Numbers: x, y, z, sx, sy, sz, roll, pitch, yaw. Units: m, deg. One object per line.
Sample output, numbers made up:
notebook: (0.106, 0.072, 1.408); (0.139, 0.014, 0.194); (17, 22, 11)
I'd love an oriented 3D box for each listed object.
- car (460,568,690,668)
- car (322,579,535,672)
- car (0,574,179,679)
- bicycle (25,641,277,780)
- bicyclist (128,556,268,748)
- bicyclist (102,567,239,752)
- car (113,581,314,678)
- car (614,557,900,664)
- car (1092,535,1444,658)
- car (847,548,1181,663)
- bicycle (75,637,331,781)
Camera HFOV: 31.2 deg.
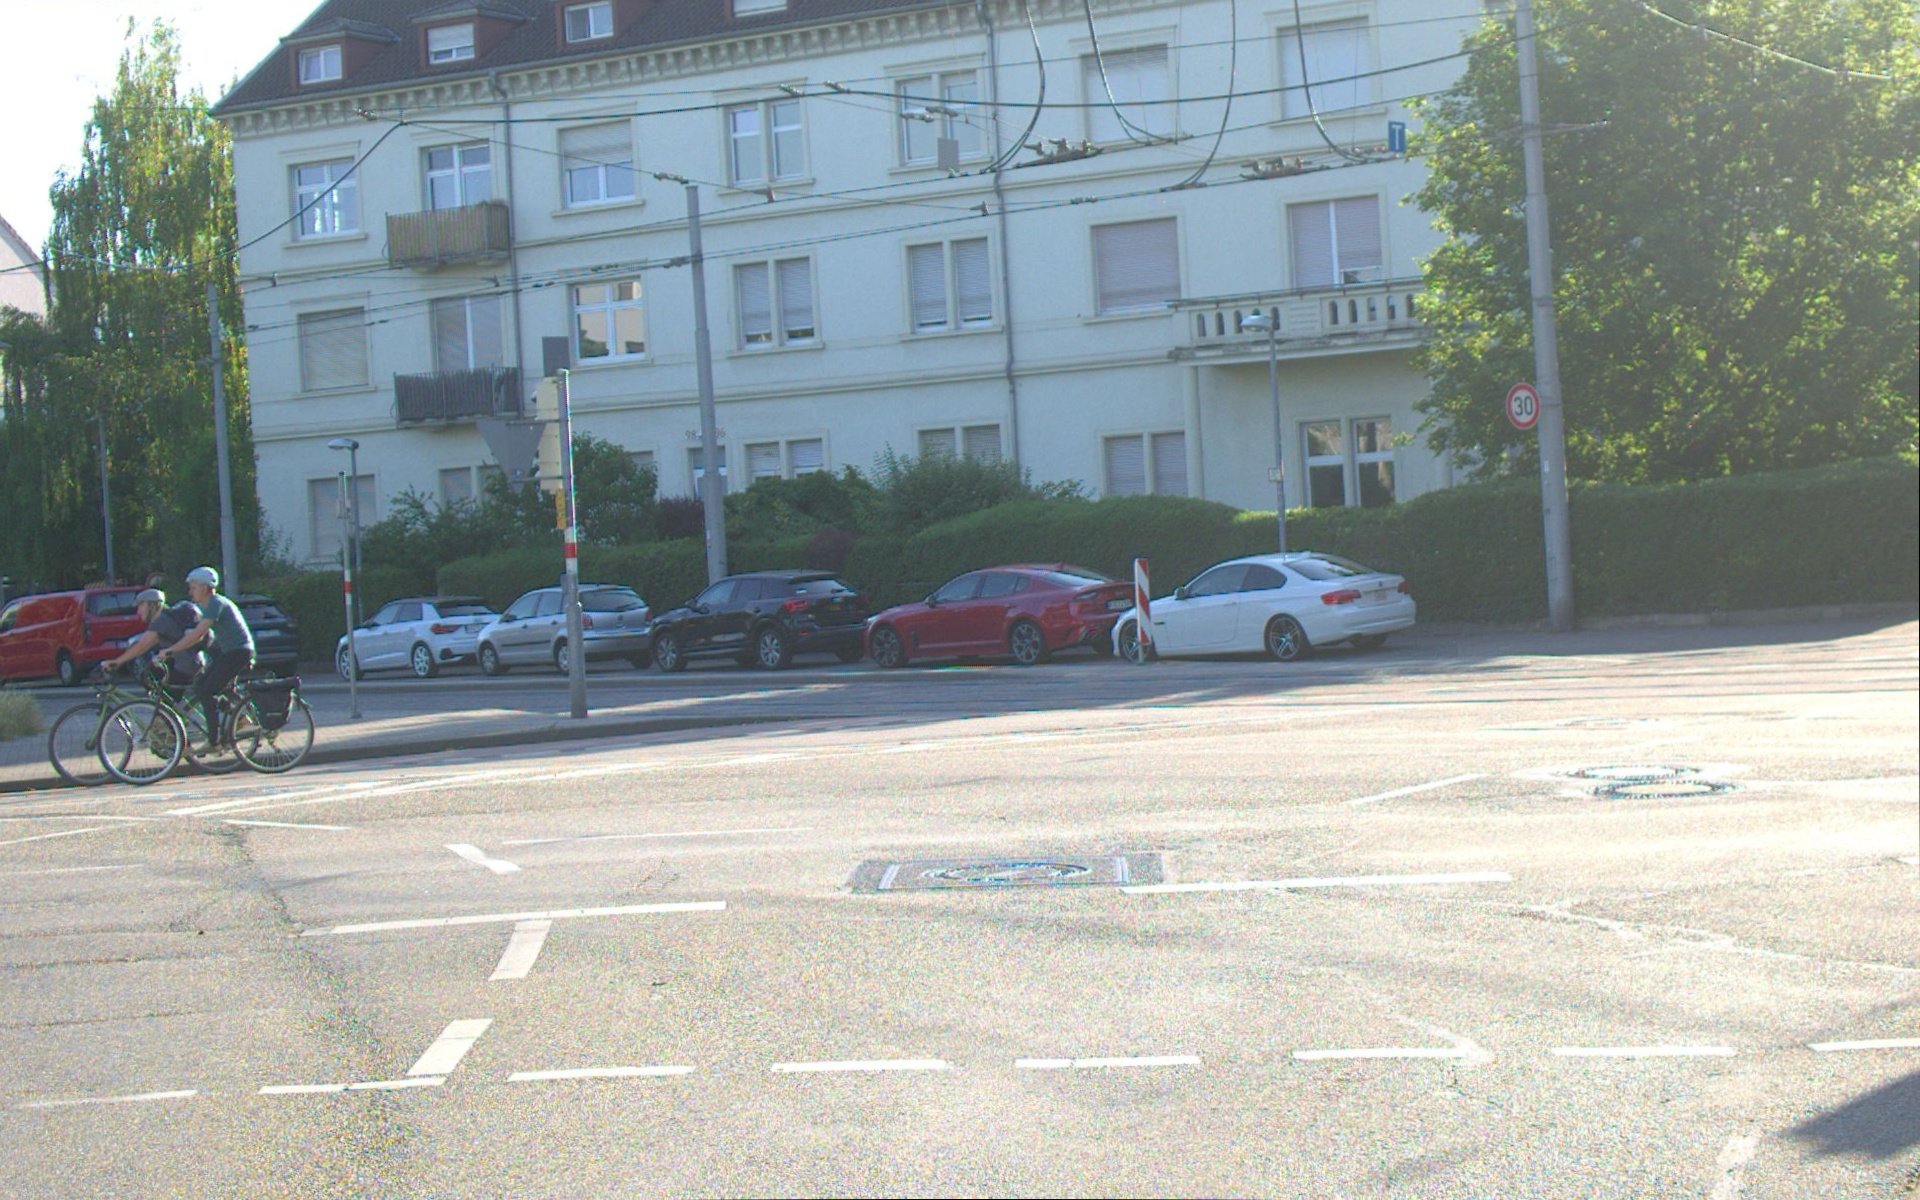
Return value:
car: (-6.503, 0.322, 57.878); (1.982, 1.442, 3.717); (-7, 3, -41)
car: (-9.516, 0.465, 61.372); (1.840, 1.442, 3.957); (-7, 3, -41)
car: (-18.654, 0.580, 72.250); (2.051, 1.955, 5.148); (-7, 3, -41)
bicycle: (-6.999, 0.952, 29.813); (2.012, 1.065, 0.664); (-3, 1, -7)
bicyclist: (-6.342, 0.427, 28.663); (1.034, 1.526, 0.698); (-3, 1, -10)
bicyclist: (-6.839, 0.507, 29.835); (1.034, 1.526, 0.661); (-3, 1, -9)
car: (-14.618, 0.598, 67.209); (1.840, 1.662, 4.368); (-7, 3, -41)
car: (-3.268, 0.188, 54.631); (1.982, 1.442, 4.703); (-7, 3, -41)
car: (4.083, -0.027, 46.125); (1.926, 1.371, 4.494); (-7, 3, -42)
car: (0.743, 0.100, 50.121); (4.702, 1.371, 1.982); (-2, 3, 44)
bicycle: (-6.297, 0.898, 28.667); (2.012, 1.065, 0.664); (-3, 1, -11)
